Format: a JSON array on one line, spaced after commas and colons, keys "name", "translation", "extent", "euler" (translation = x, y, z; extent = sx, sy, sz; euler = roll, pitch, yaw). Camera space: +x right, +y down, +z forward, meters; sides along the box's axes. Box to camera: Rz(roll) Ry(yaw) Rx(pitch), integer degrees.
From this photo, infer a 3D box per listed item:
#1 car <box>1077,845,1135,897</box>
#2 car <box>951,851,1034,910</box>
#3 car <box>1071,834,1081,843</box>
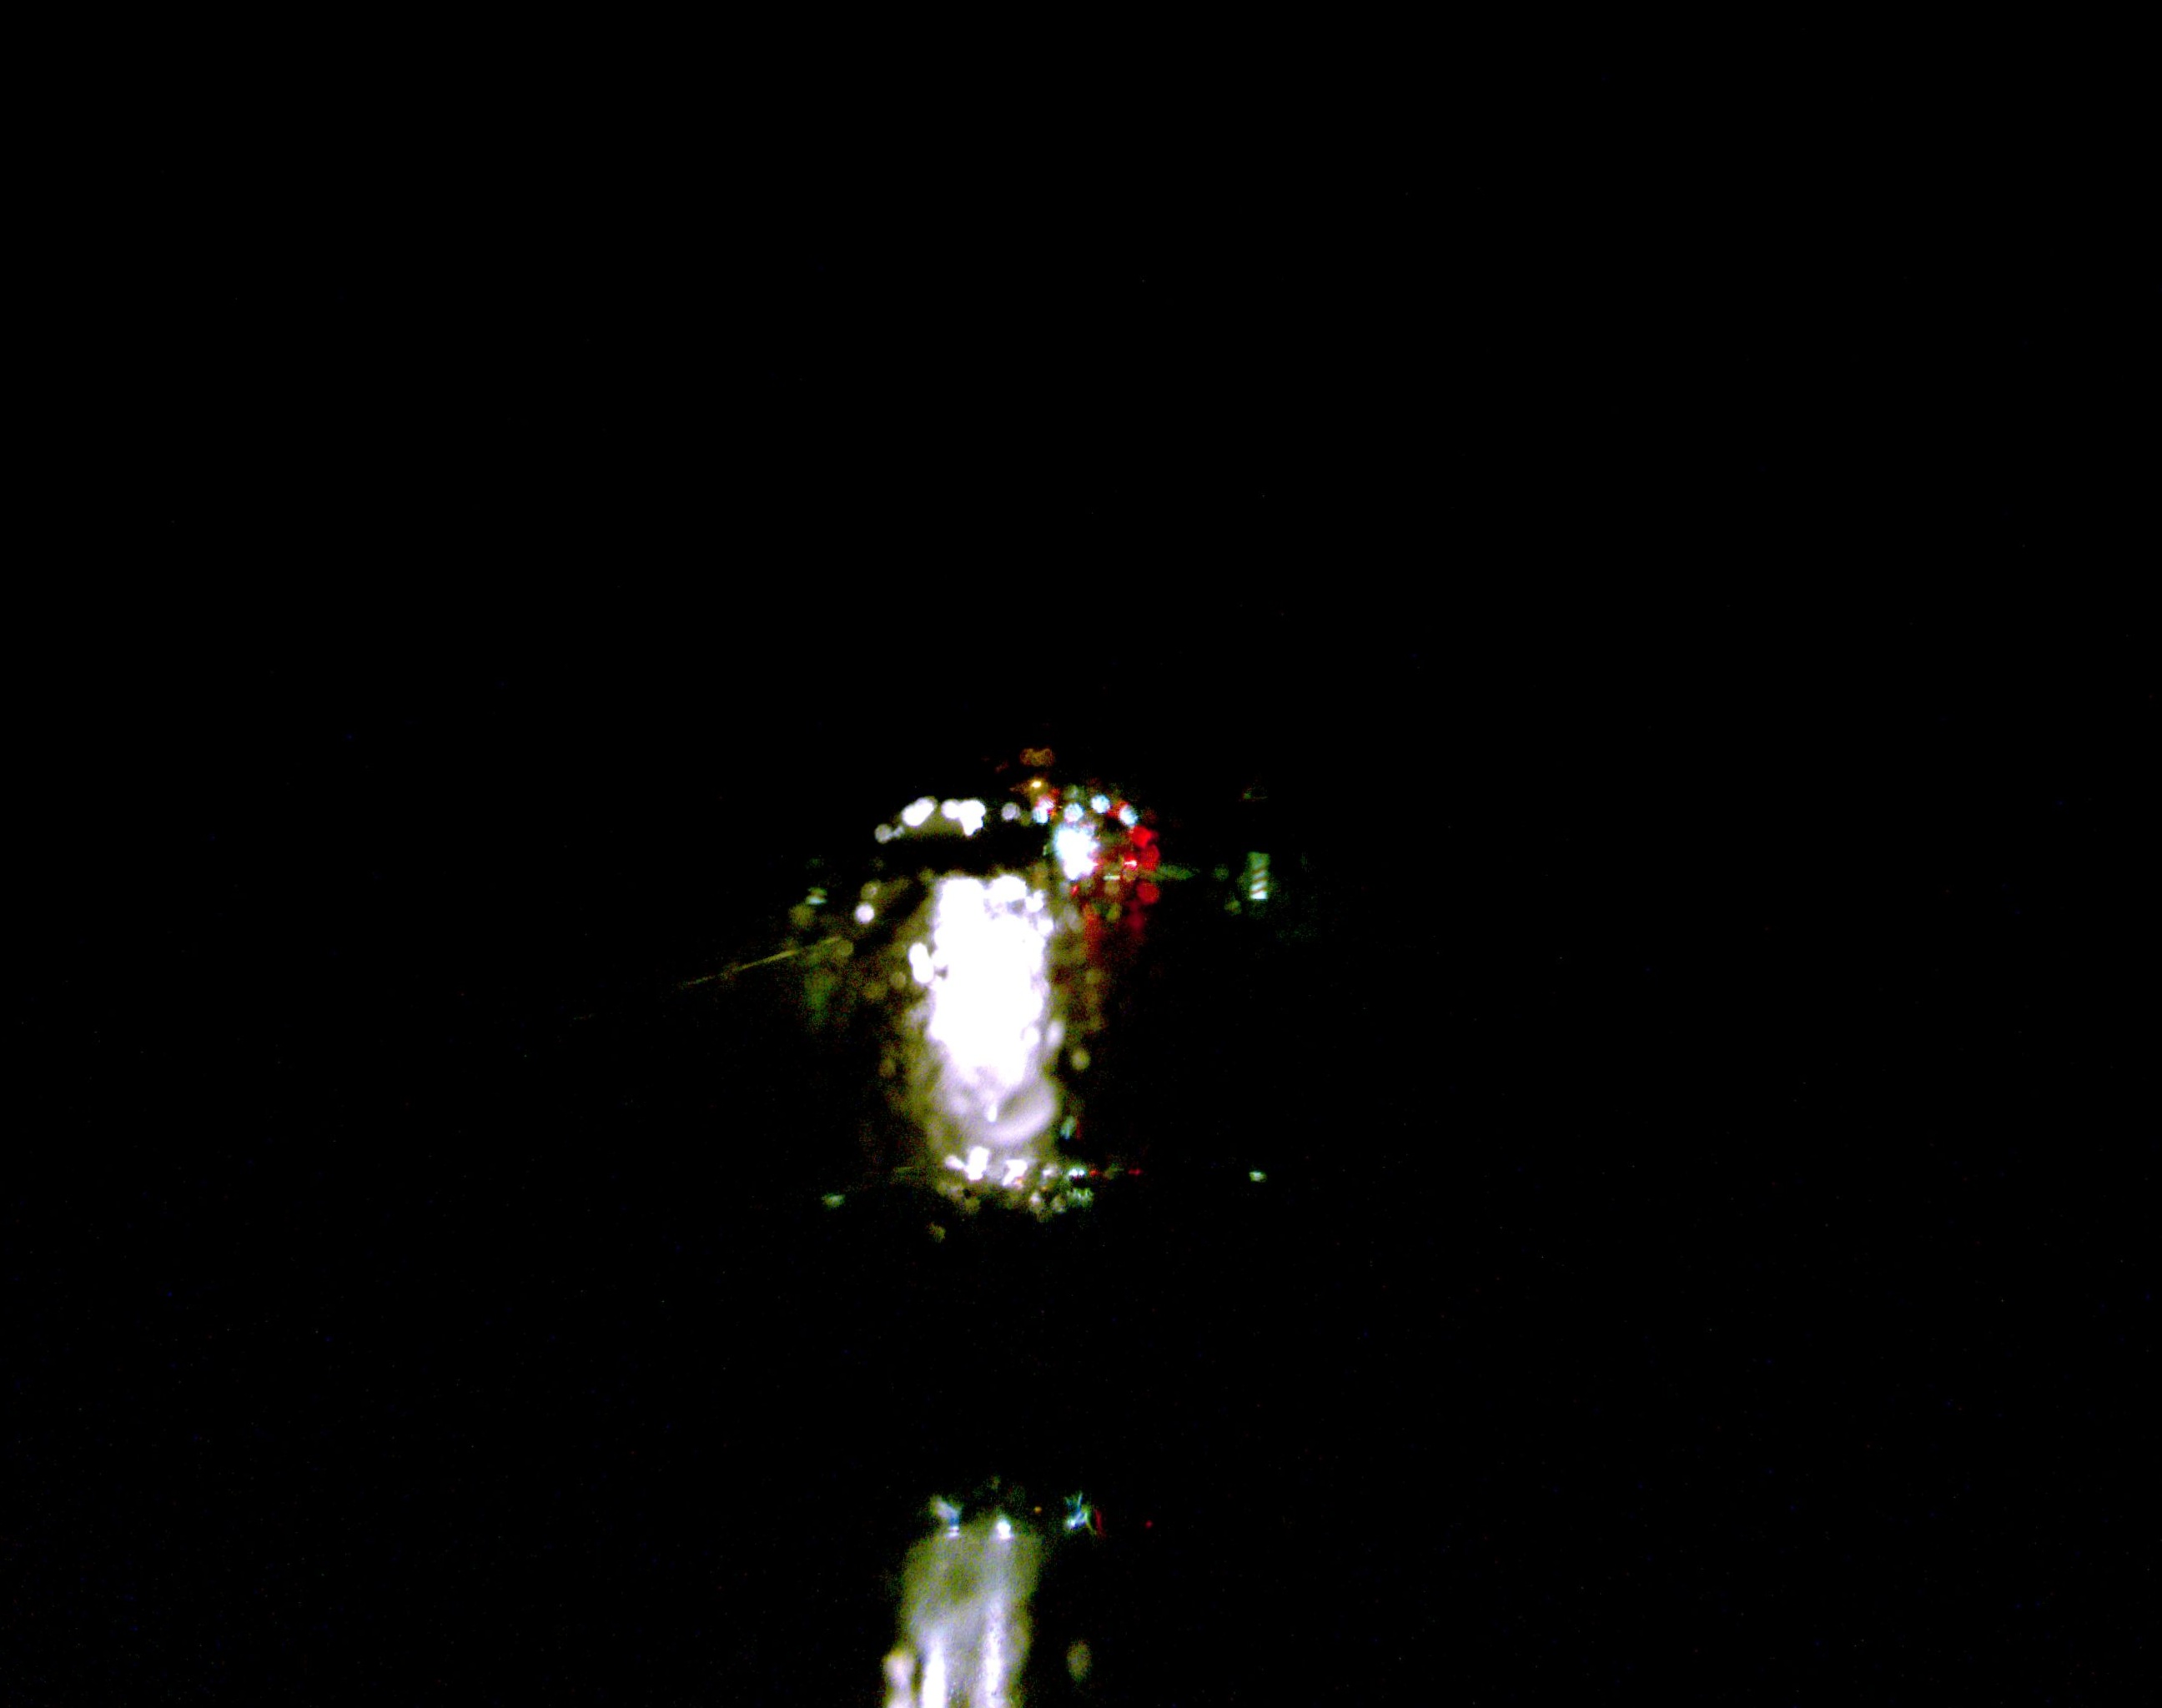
[{"name": "car", "translation": [0.842, 0.532, 27.361], "extent": [1.795, 1.628, 3.617], "euler": [1, 0, 2]}, {"name": "car", "translation": [-2.400, 0.687, 22.845], "extent": [1.795, 1.509, 3.617], "euler": [1, 0, 2]}, {"name": "car", "translation": [-0.878, -2.877, 152.983], "extent": [1.726, 1.518, 4.016], "euler": [-1, 1, 1]}]
